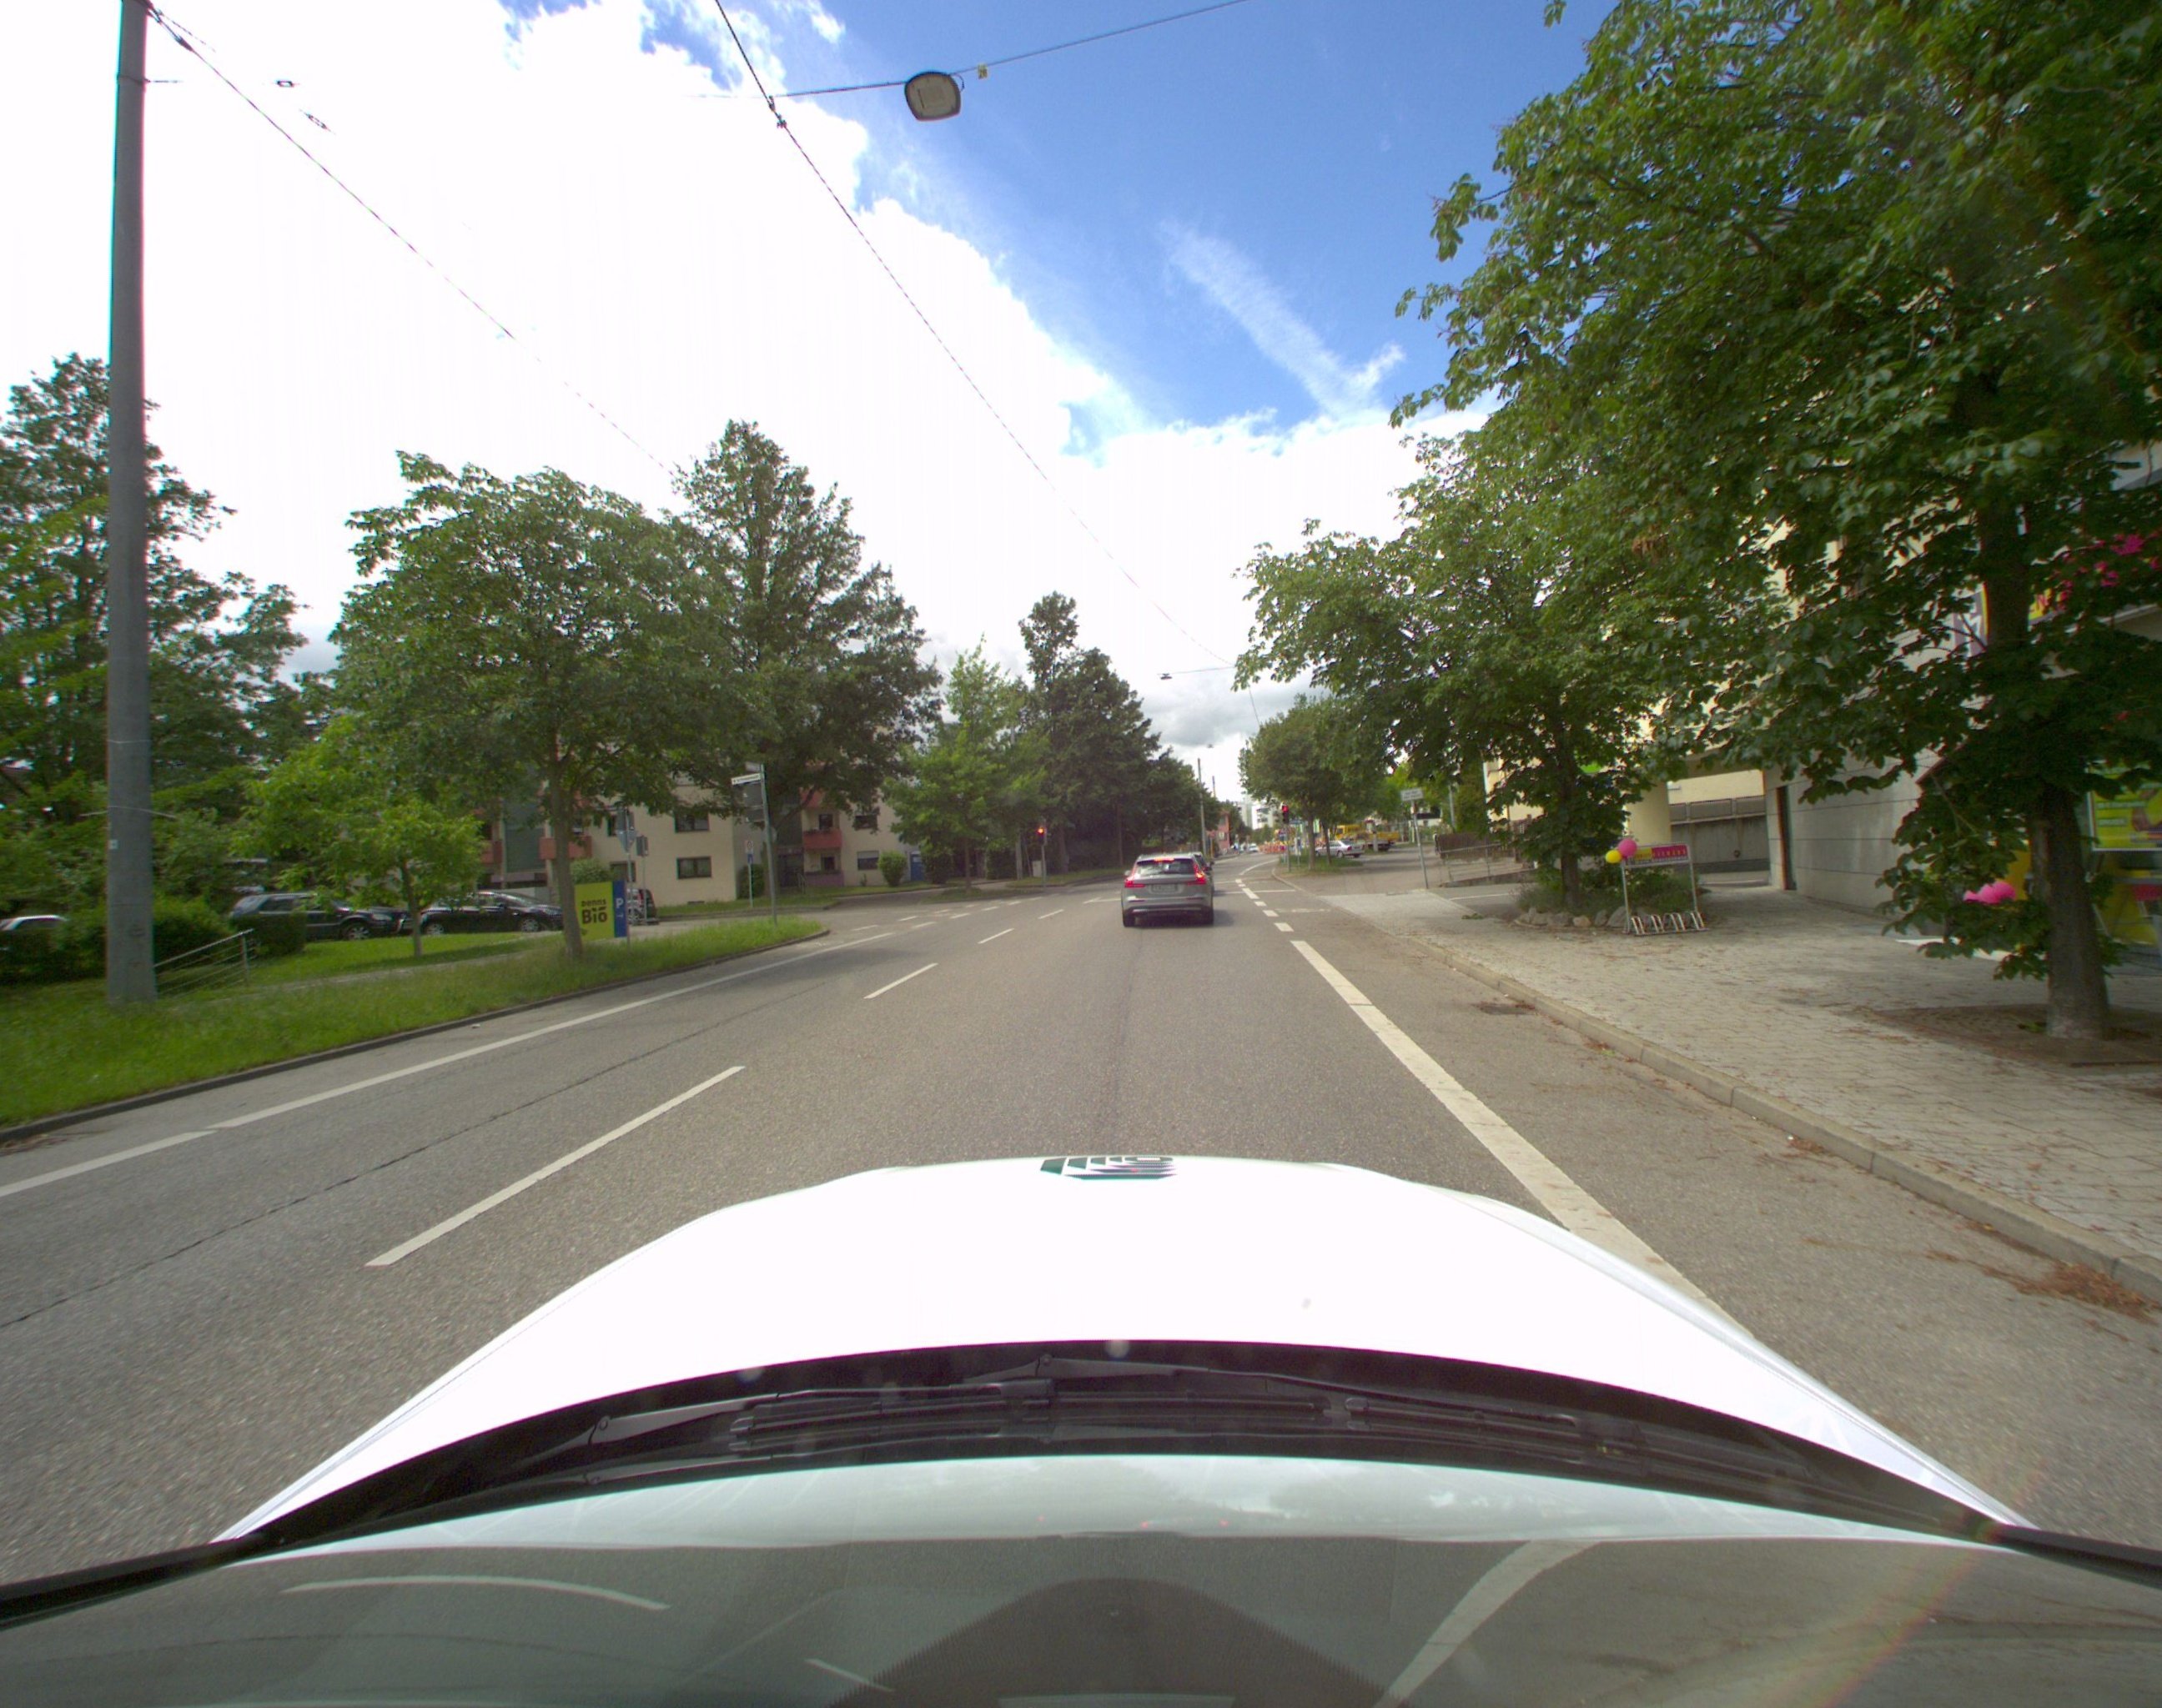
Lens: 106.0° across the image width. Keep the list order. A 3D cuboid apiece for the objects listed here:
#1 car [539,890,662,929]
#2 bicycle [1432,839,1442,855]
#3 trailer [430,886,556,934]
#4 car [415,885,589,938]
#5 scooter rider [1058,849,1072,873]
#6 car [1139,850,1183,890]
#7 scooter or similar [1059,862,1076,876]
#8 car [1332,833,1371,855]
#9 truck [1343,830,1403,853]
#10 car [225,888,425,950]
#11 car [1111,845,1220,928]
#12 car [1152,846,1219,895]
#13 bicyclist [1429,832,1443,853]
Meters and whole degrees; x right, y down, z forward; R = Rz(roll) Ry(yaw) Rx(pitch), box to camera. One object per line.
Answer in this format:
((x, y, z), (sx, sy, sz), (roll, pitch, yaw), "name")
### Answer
((-20.143, 2.352, 34.289), (4.071, 1.400, 1.791), (-2, -4, -5), "car")
((24.553, -0.494, 56.169), (0.457, 1.035, 2.779), (-3, -1, 25), "bicycle")
((-24.430, 2.330, 33.958), (3.902, 1.799, 1.626), (-2, -4, -7), "trailer")
((-18.070, 1.797, 25.587), (4.071, 1.400, 1.791), (-2, -4, -5), "car")
((-1.143, 0.500, 59.467), (0.709, 1.727, 0.673), (-1, -2, -30), "scooter rider")
((3.431, 0.679, 35.329), (1.796, 1.616, 4.334), (0, -1, 4), "car")
((-0.997, 1.128, 59.529), (0.959, 0.962, 0.683), (-3, -1, -32), "scooter or similar")
((27.593, -1.025, 82.981), (3.781, 2.014, 1.725), (-2, -2, -33), "car")
((27.951, -1.170, 77.922), (5.630, 2.014, 2.070), (-2, -2, -29), "truck")
((-23.261, 1.965, 25.215), (4.169, 1.523, 1.898), (-4, -1, -5), "car")
((1.985, 0.624, 17.930), (1.943, 1.523, 4.342), (-3, 0, 11), "car")
((3.608, 0.503, 27.400), (1.792, 1.523, 4.345), (0, 0, 13), "car")
((24.612, -0.814, 56.445), (0.770, 1.399, 0.706), (-3, -2, 24), "bicyclist")
